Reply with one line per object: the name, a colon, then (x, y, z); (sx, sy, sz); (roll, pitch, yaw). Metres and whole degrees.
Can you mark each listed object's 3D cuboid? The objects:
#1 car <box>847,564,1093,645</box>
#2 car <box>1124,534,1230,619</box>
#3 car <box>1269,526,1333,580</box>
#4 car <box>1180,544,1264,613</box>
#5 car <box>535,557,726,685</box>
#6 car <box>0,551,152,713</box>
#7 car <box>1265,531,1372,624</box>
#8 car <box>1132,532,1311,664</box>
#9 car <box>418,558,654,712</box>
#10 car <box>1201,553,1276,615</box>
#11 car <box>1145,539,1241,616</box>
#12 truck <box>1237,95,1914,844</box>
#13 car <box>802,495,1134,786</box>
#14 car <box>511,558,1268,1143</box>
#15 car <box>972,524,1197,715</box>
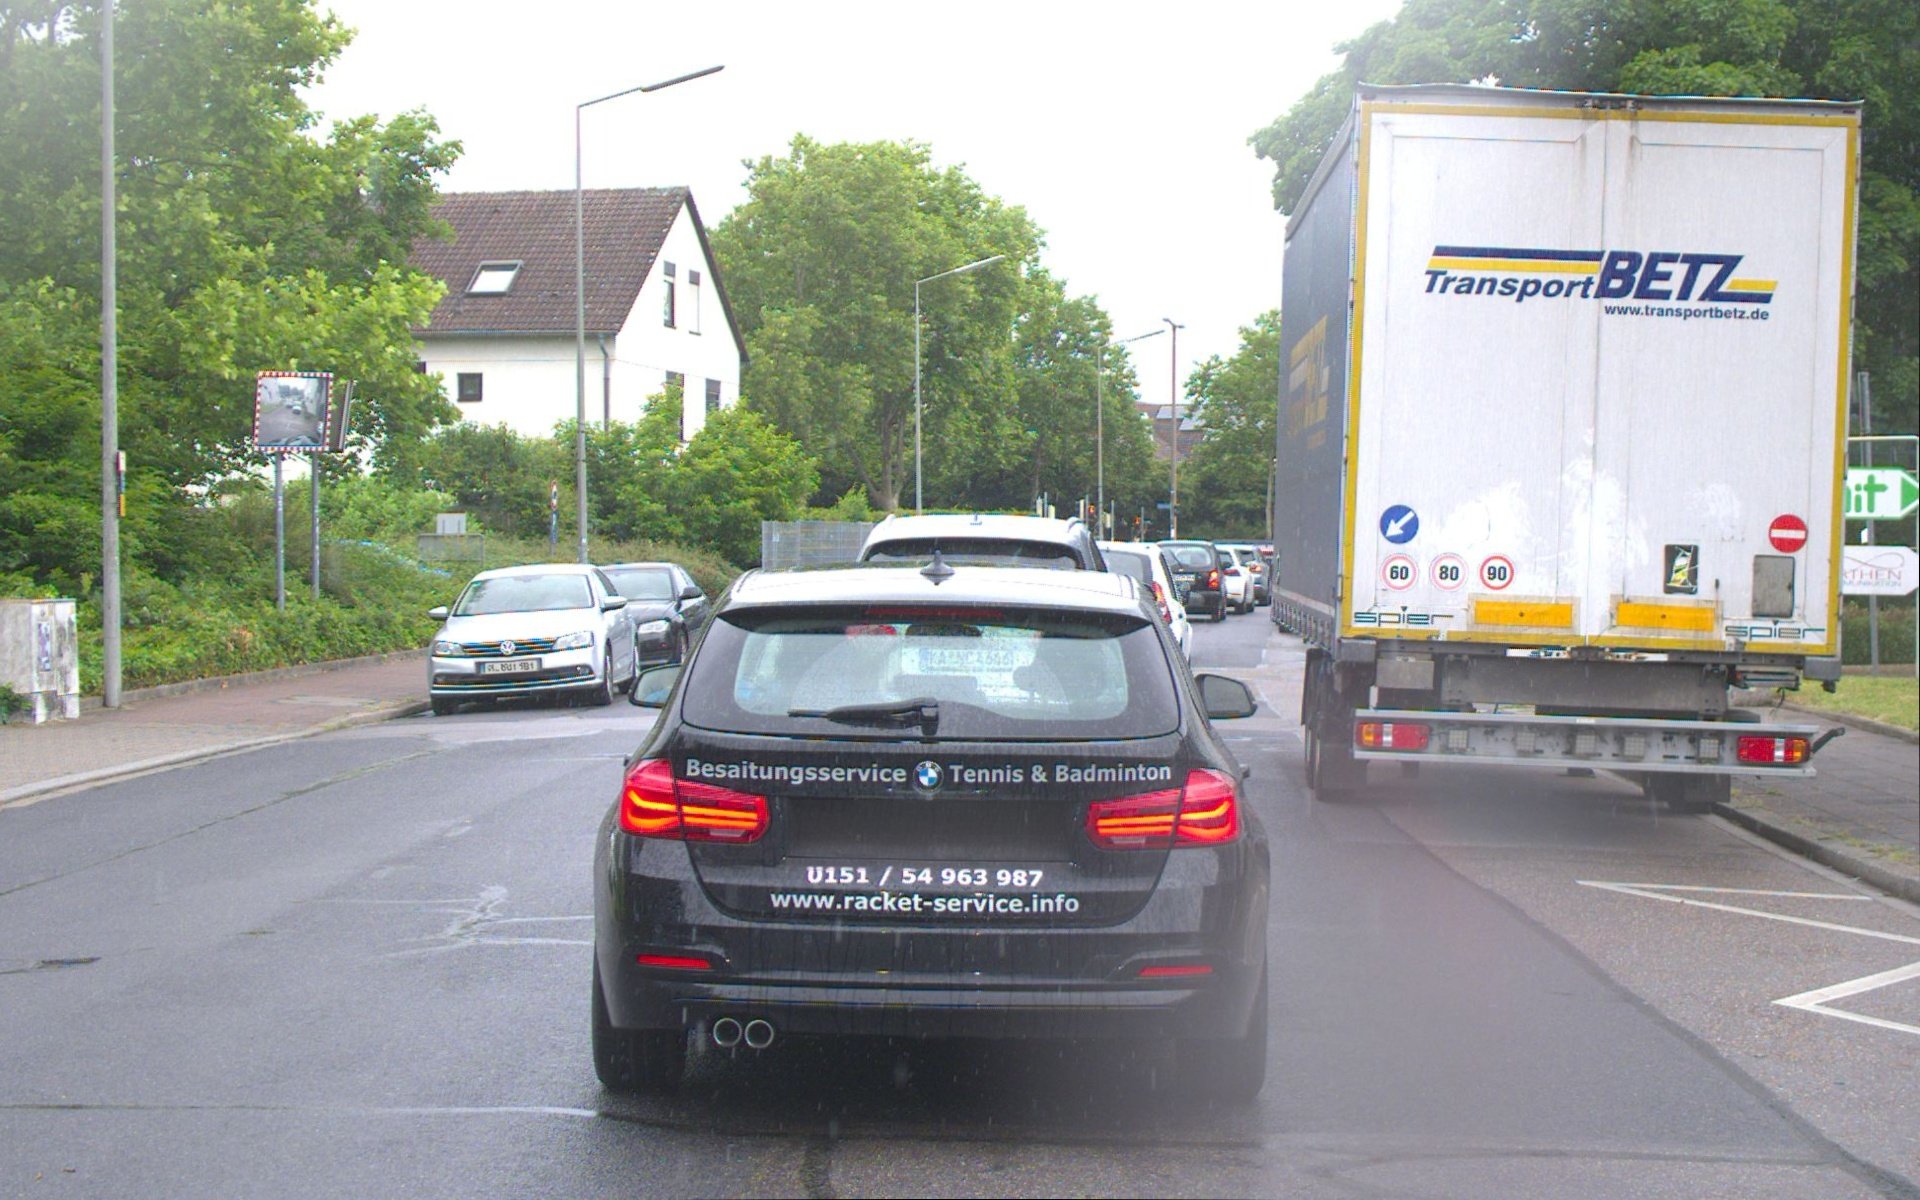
car: (0.181, 0.075, 59.316); (4.187, 1.358, 1.589); (0, 1, 0)
car: (4.267, -0.463, 67.164); (1.805, 1.581, 3.999); (1, 1, 7)
car: (10.130, -1.406, 102.054); (1.805, 1.581, 3.999); (0, 1, 7)
car: (6.318, -0.524, 82.648); (1.805, 1.581, 3.999); (1, 1, 7)
car: (-3.884, 0.214, 41.084); (1.705, 1.362, 3.838); (-2, 1, 3)
car: (-9.702, 0.256, 32.737); (3.569, 1.455, 1.712); (2, 1, 1)
car: (6.353, -0.402, 61.215); (1.804, 1.581, 3.999); (1, 1, 5)
car: (3.476, -0.039, 46.388); (1.993, 1.678, 4.000); (1, 0, -2)
car: (-4.255, 0.305, 35.125); (1.705, 1.362, 4.601); (-2, 1, 1)
car: (7.411, -0.430, 91.216); (1.805, 1.581, 3.999); (1, 1, 7)
car: (5.019, -0.489, 73.535); (1.805, 1.581, 3.999); (1, 1, 7)
truck: (3.356, -0.706, 20.895); (2.741, 3.598, 7.750); (2, 1, 1)
car: (-0.046, 0.202, 20.922); (1.804, 1.581, 4.000); (1, 1, -3)
car: (-0.261, 0.586, 10.270); (1.804, 1.390, 4.000); (1, 1, -3)
car: (1.183, 0.147, 30.949); (1.804, 1.581, 3.999); (1, 1, 5)
